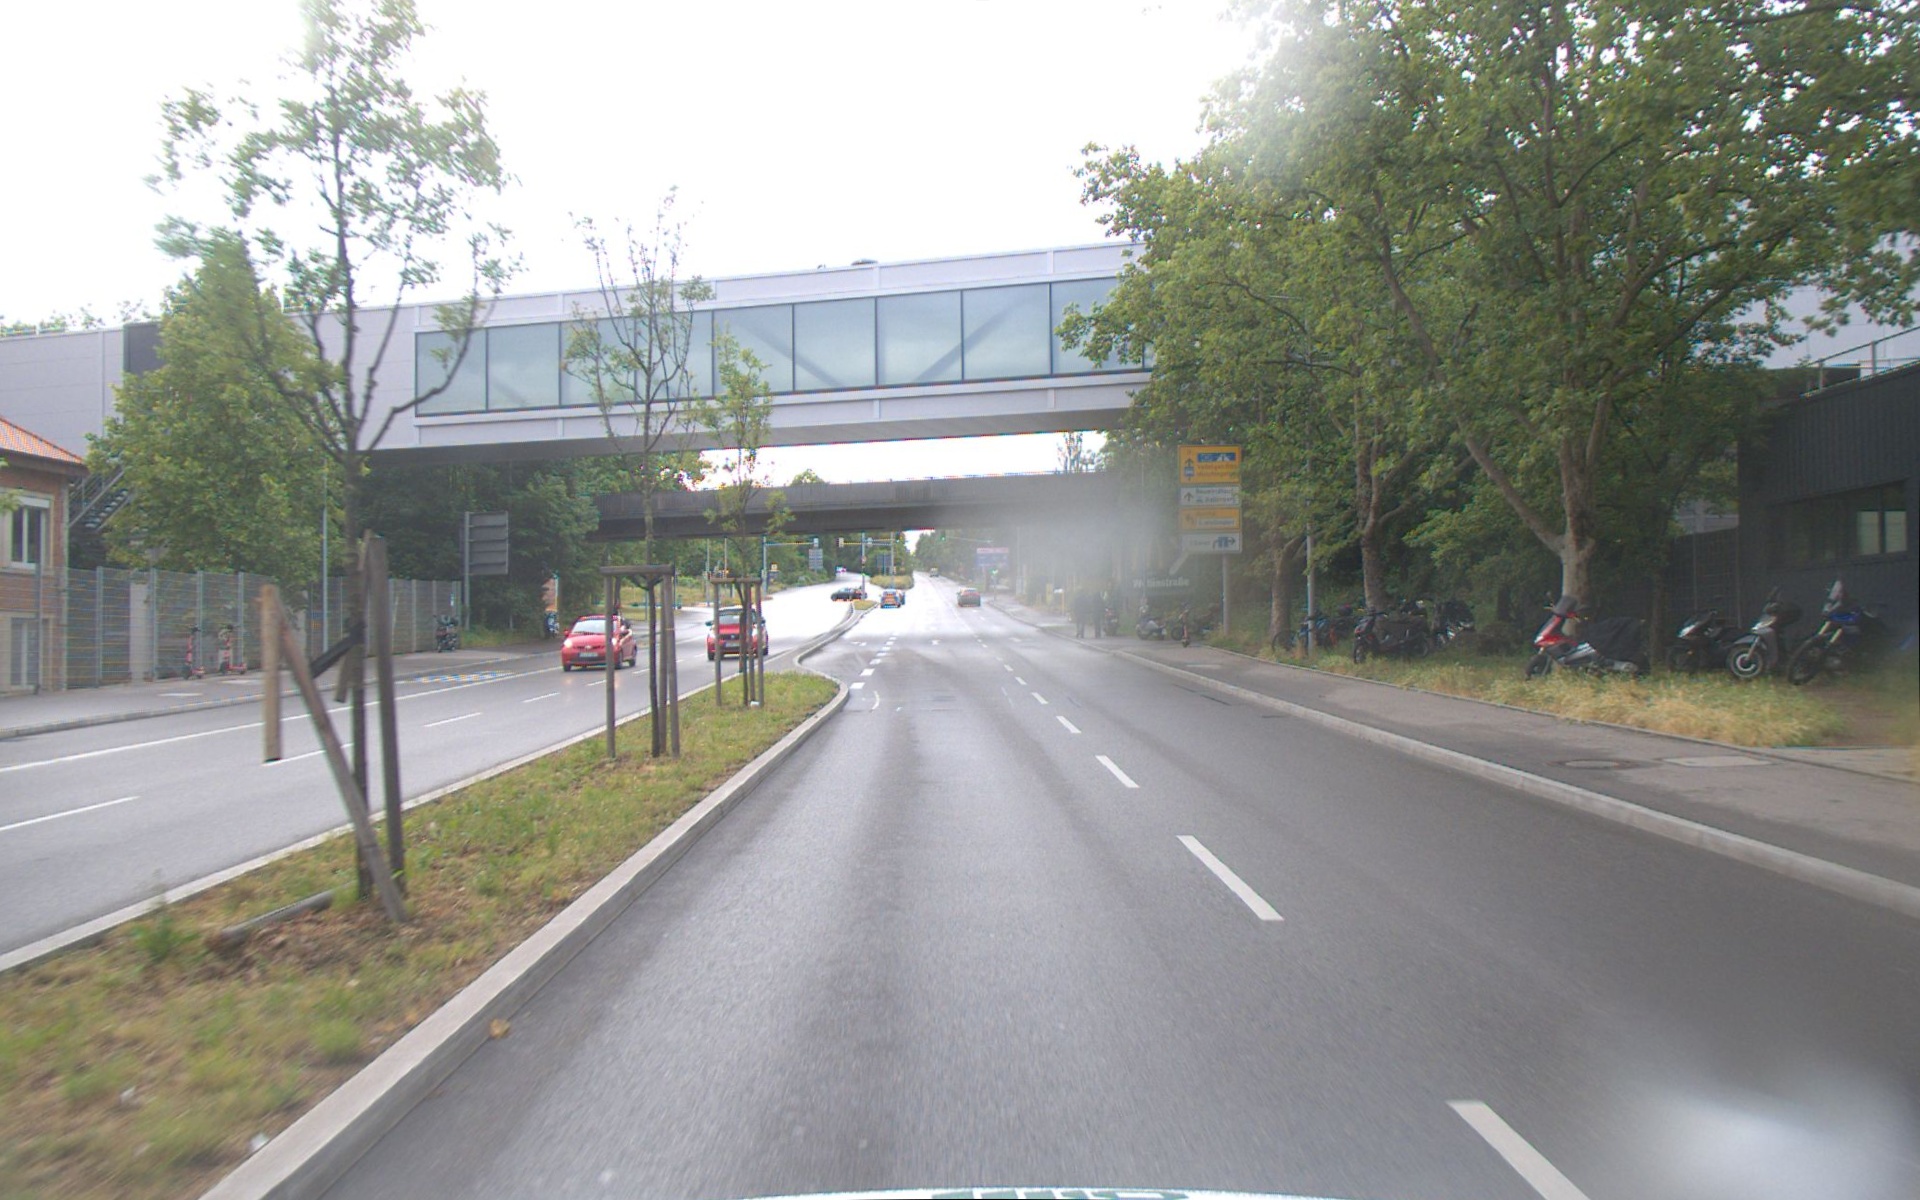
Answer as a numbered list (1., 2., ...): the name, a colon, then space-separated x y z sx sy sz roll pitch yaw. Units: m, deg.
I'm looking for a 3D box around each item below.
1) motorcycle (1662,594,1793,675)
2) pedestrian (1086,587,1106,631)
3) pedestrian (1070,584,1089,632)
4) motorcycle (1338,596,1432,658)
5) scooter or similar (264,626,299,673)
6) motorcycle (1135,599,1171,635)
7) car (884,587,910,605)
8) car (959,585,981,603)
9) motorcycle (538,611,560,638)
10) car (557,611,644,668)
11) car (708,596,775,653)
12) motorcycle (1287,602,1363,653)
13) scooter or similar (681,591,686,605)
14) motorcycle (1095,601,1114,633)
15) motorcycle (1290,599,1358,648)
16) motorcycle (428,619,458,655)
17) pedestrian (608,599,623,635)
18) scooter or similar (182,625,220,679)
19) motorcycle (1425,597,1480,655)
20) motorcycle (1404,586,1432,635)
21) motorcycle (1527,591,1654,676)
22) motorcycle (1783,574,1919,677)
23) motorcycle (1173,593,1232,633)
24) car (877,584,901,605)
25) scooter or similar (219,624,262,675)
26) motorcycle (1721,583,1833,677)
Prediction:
1. motorcycle: 12.465 0.553 26.904 1.874 1.280 0.491 1 -1 5
2. pedestrian: 5.048 0.344 61.482 0.636 1.624 0.579 -1 0 10
3. pedestrian: 4.449 0.290 61.699 0.598 1.751 0.892 -1 0 9
4. motorcycle: 8.640 0.542 33.614 1.819 1.212 0.519 -1 0 -17
5. scooter or similar: -18.339 1.327 44.714 0.305 1.239 1.308 -1 0 4
6. motorcycle: 6.804 0.608 58.401 0.462 1.234 1.934 -1 0 -18
7. car: -5.978 -0.387 156.964 2.121 1.610 4.665 1 -1 2
8. car: 0.815 -0.529 139.361 1.709 1.495 4.165 0 1 -2
9. motorcycle: -19.060 1.140 76.792 0.459 1.179 1.933 -1 0 2
10. car: -10.040 1.077 46.387 1.681 1.462 3.770 -3 0 -2
11. car: -6.764 0.761 51.464 1.553 1.633 3.854 -3 -1 -1
12. motorcycle: 9.431 0.697 42.730 1.819 1.275 0.627 -1 0 -17
13. scooter or similar: -24.774 -0.176 148.010 0.306 1.239 1.303 -1 1 -15
14. motorcycle: 5.401 0.640 61.874 0.460 1.156 1.818 -1 0 -1
15. motorcycle: 9.778 0.618 44.446 0.623 1.275 1.831 -1 0 -36
16. motorcycle: -18.594 1.314 59.476 0.459 1.226 1.996 -1 0 -1
17. pedestrian: -17.886 0.870 85.950 0.508 1.847 0.800 0 0 9
18. scooter or similar: -18.273 1.244 39.829 0.305 1.239 1.307 -1 0 -1
19. motorcycle: 11.482 0.602 38.618 0.632 1.302 1.990 -1 -1 -1
20. motorcycle: 12.475 0.275 45.022 0.341 1.302 2.069 -1 0 26
21. motorcycle: 9.010 0.474 23.659 1.618 1.170 0.493 1 -1 7
22. motorcycle: 12.447 0.356 22.913 1.891 1.389 0.505 1 -1 -6
23. motorcycle: 8.300 0.447 56.627 1.904 1.320 0.546 -2 0 34
24. car: -6.101 -0.457 142.172 2.035 1.748 4.195 1 -1 -3
25. scooter or similar: -18.366 1.251 42.232 0.305 1.239 1.309 -1 0 11
26. motorcycle: 12.339 0.450 24.996 1.470 1.389 0.505 1 -1 -6
